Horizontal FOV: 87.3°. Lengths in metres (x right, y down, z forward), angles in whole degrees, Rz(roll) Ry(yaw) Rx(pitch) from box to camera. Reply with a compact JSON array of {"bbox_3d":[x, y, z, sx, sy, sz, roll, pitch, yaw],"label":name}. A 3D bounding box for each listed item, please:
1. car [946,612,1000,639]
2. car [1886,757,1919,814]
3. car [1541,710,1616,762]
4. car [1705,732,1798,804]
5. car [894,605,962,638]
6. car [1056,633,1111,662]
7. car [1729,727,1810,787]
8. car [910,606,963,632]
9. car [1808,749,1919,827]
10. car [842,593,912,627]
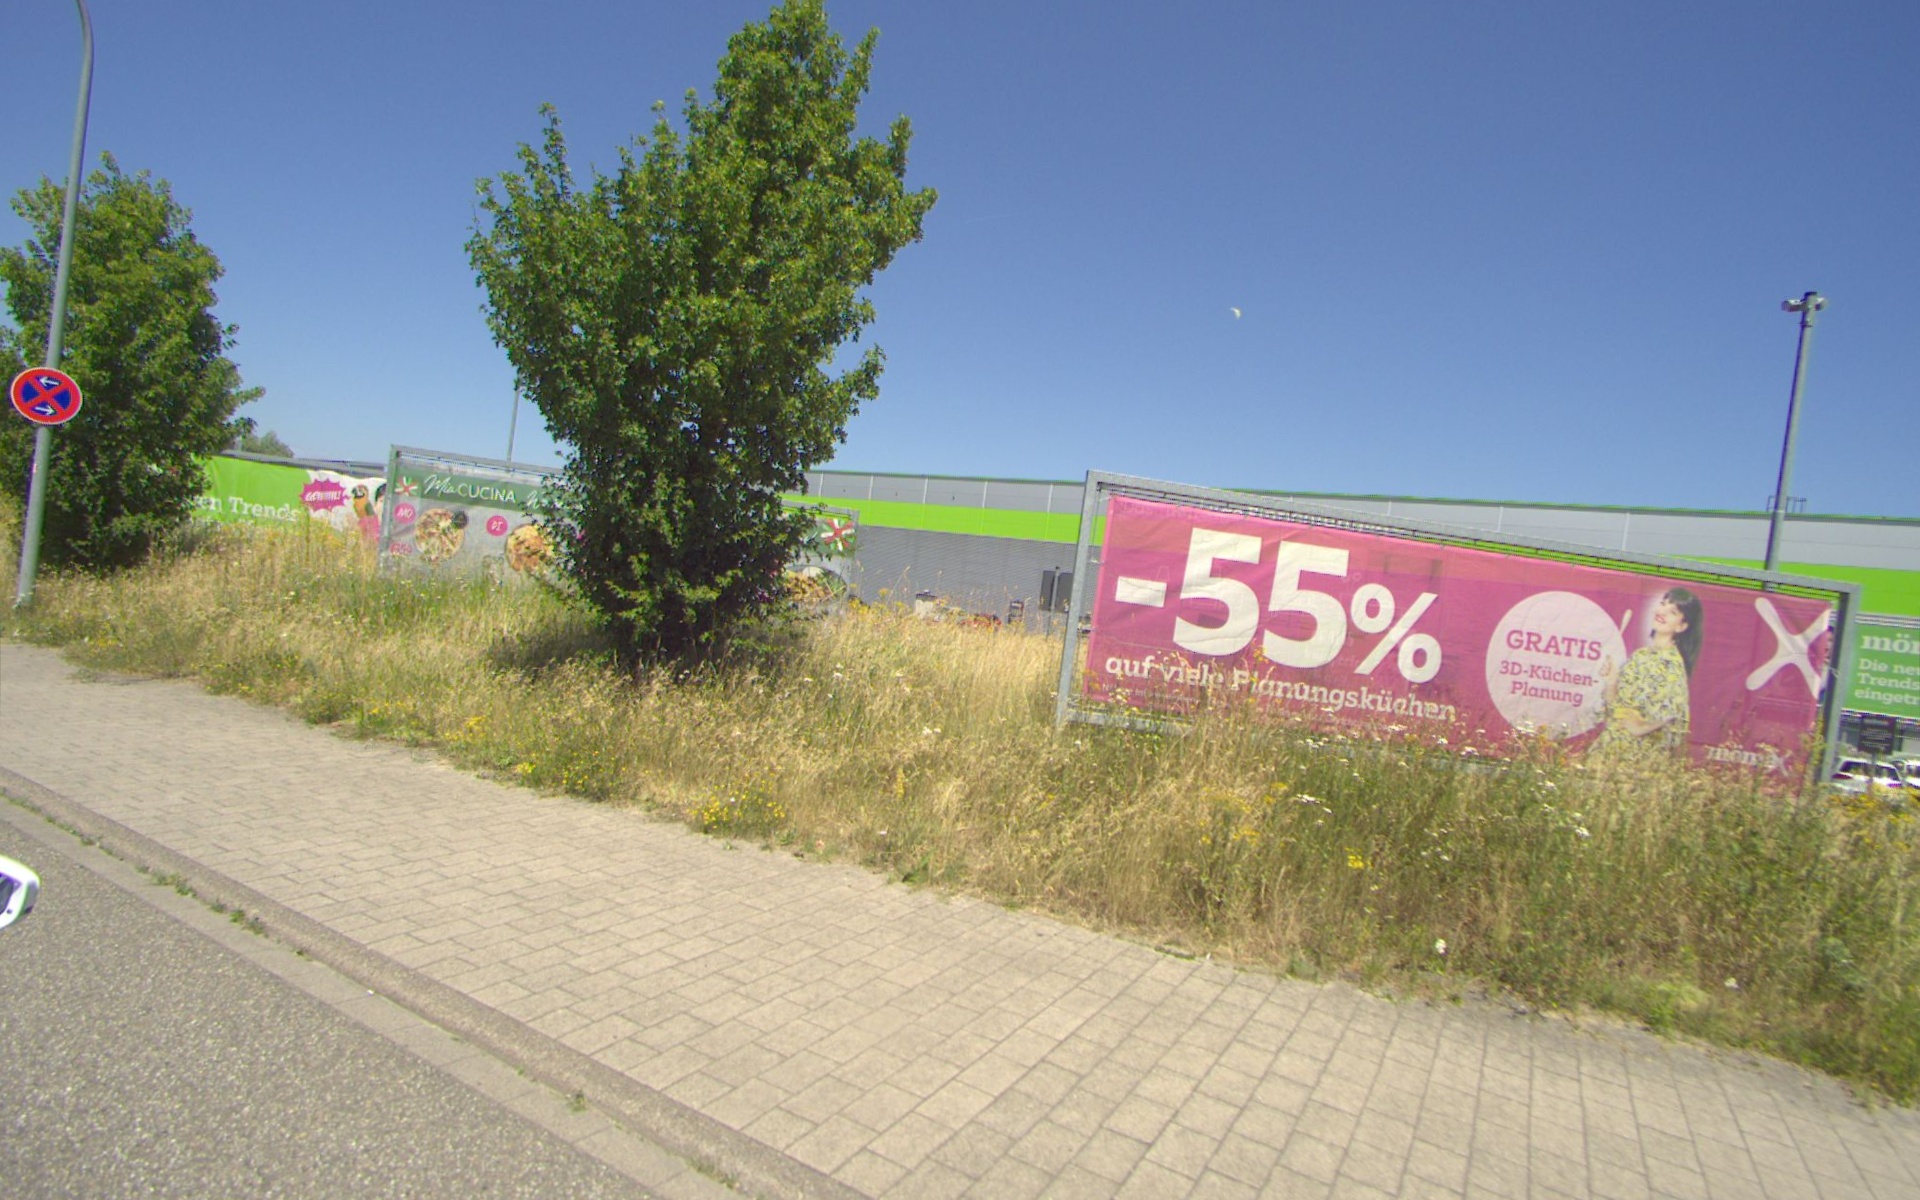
[{"bbox_3d":[0.934,1.866,71.650,1.967,1.537,3.992,6,-1,31],"label":"car"},{"bbox_3d":[31.680,6.123,32.594,1.918,1.524,3.985,7,0,37],"label":"car"},{"bbox_3d":[23.790,5.158,38.621,1.969,1.537,4.407,6,-1,36],"label":"car"},{"bbox_3d":[23.771,4.996,30.339,1.918,1.550,3.985,7,0,37],"label":"car"},{"bbox_3d":[-1.801,1.268,58.524,1.967,1.537,3.991,6,-1,32],"label":"car"},{"bbox_3d":[8.133,3.134,65.967,1.967,1.537,3.992,6,-1,31],"label":"car"},{"bbox_3d":[28.426,5.465,35.427,1.918,1.524,3.985,7,0,37],"label":"car"},{"bbox_3d":[-1.671,1.401,73.266,1.967,1.493,3.992,6,-1,31],"label":"car"},{"bbox_3d":[26.020,5.344,29.077,1.918,1.550,3.985,7,0,37],"label":"car"},{"bbox_3d":[-4.816,0.593,58.671,1.967,1.537,3.992,6,-1,31],"label":"car"}]
